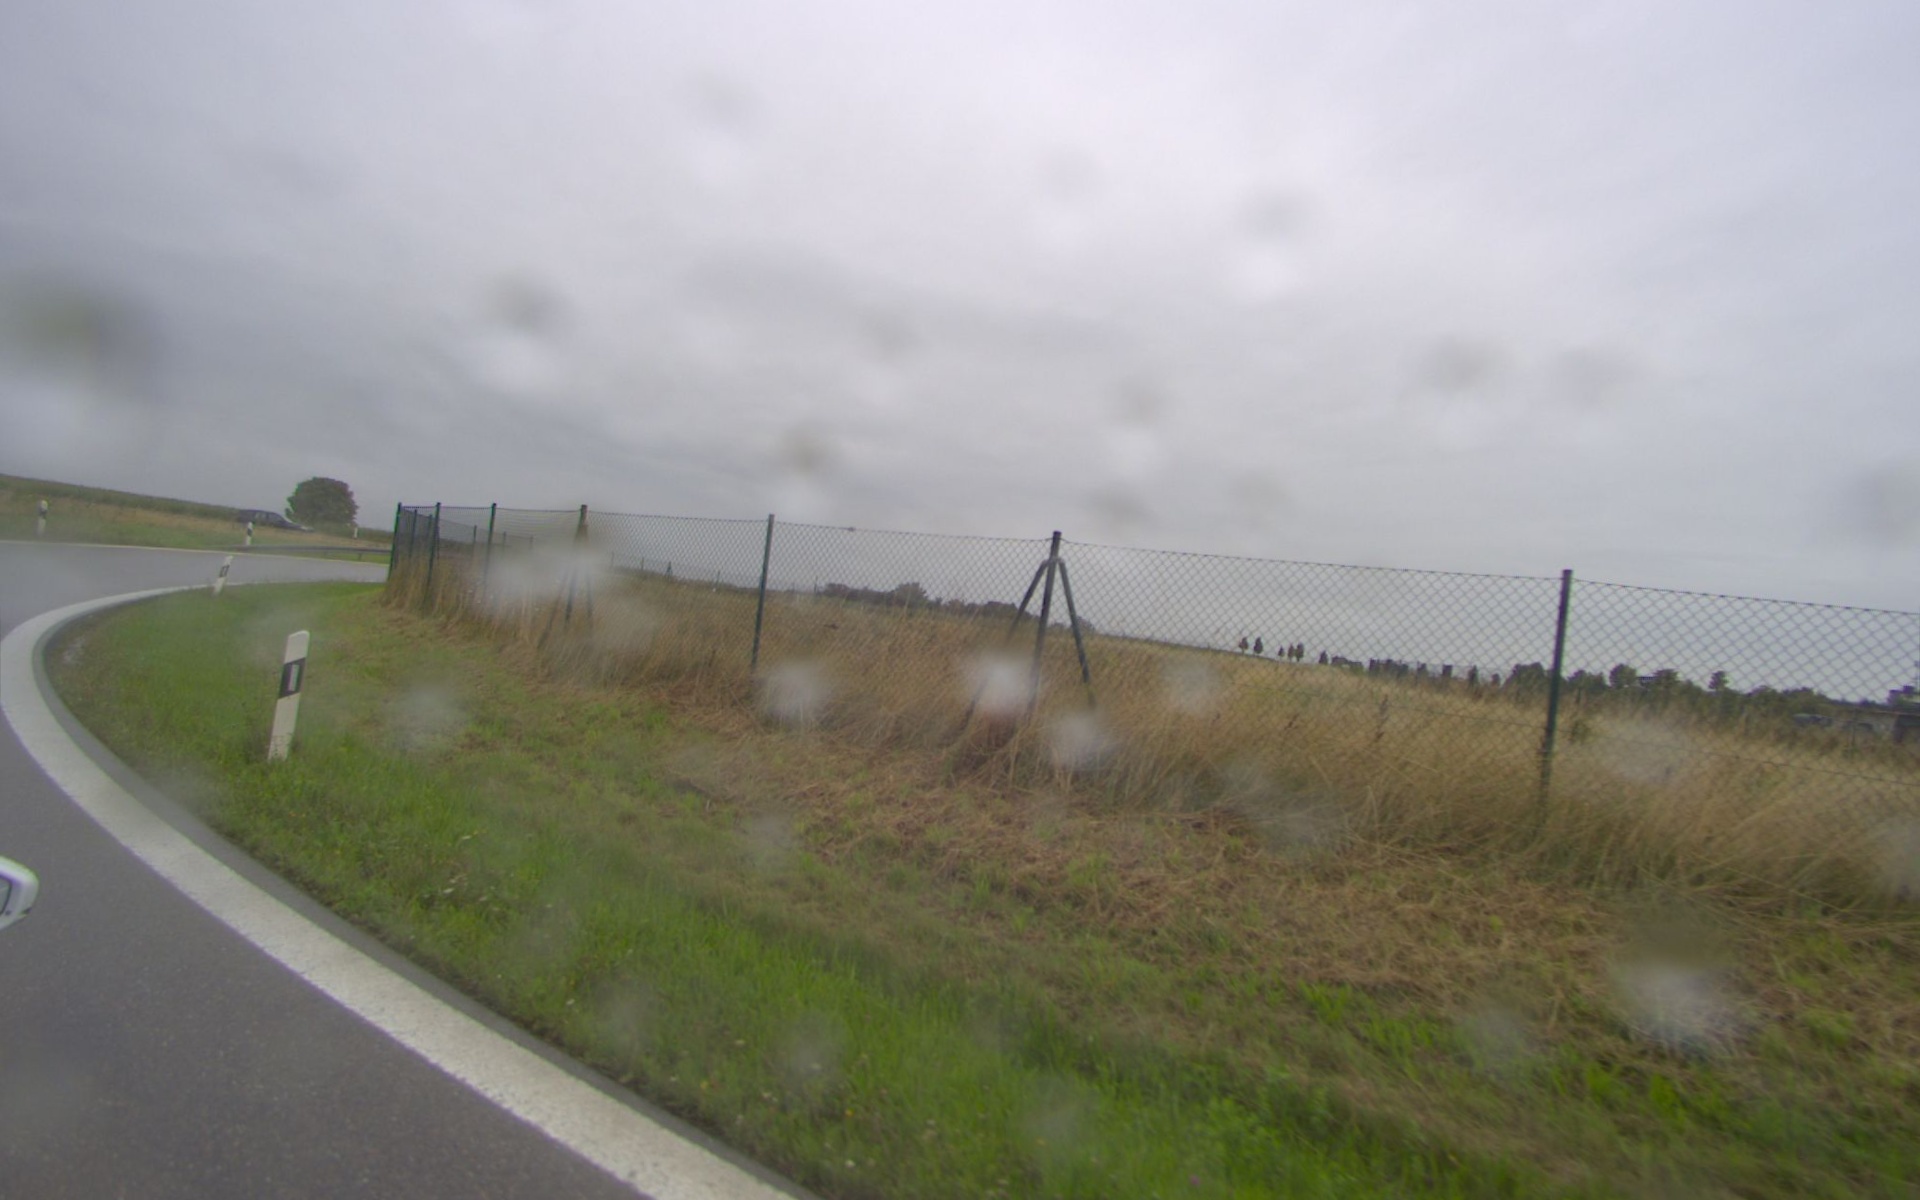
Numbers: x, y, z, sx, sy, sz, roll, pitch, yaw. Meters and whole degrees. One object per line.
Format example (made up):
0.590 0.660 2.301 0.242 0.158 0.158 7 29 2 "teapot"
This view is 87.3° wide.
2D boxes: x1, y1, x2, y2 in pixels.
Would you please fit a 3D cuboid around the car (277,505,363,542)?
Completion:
-42.213 -5.017 66.470 4.291 1.656 2.049 8 0 -21 "car"
